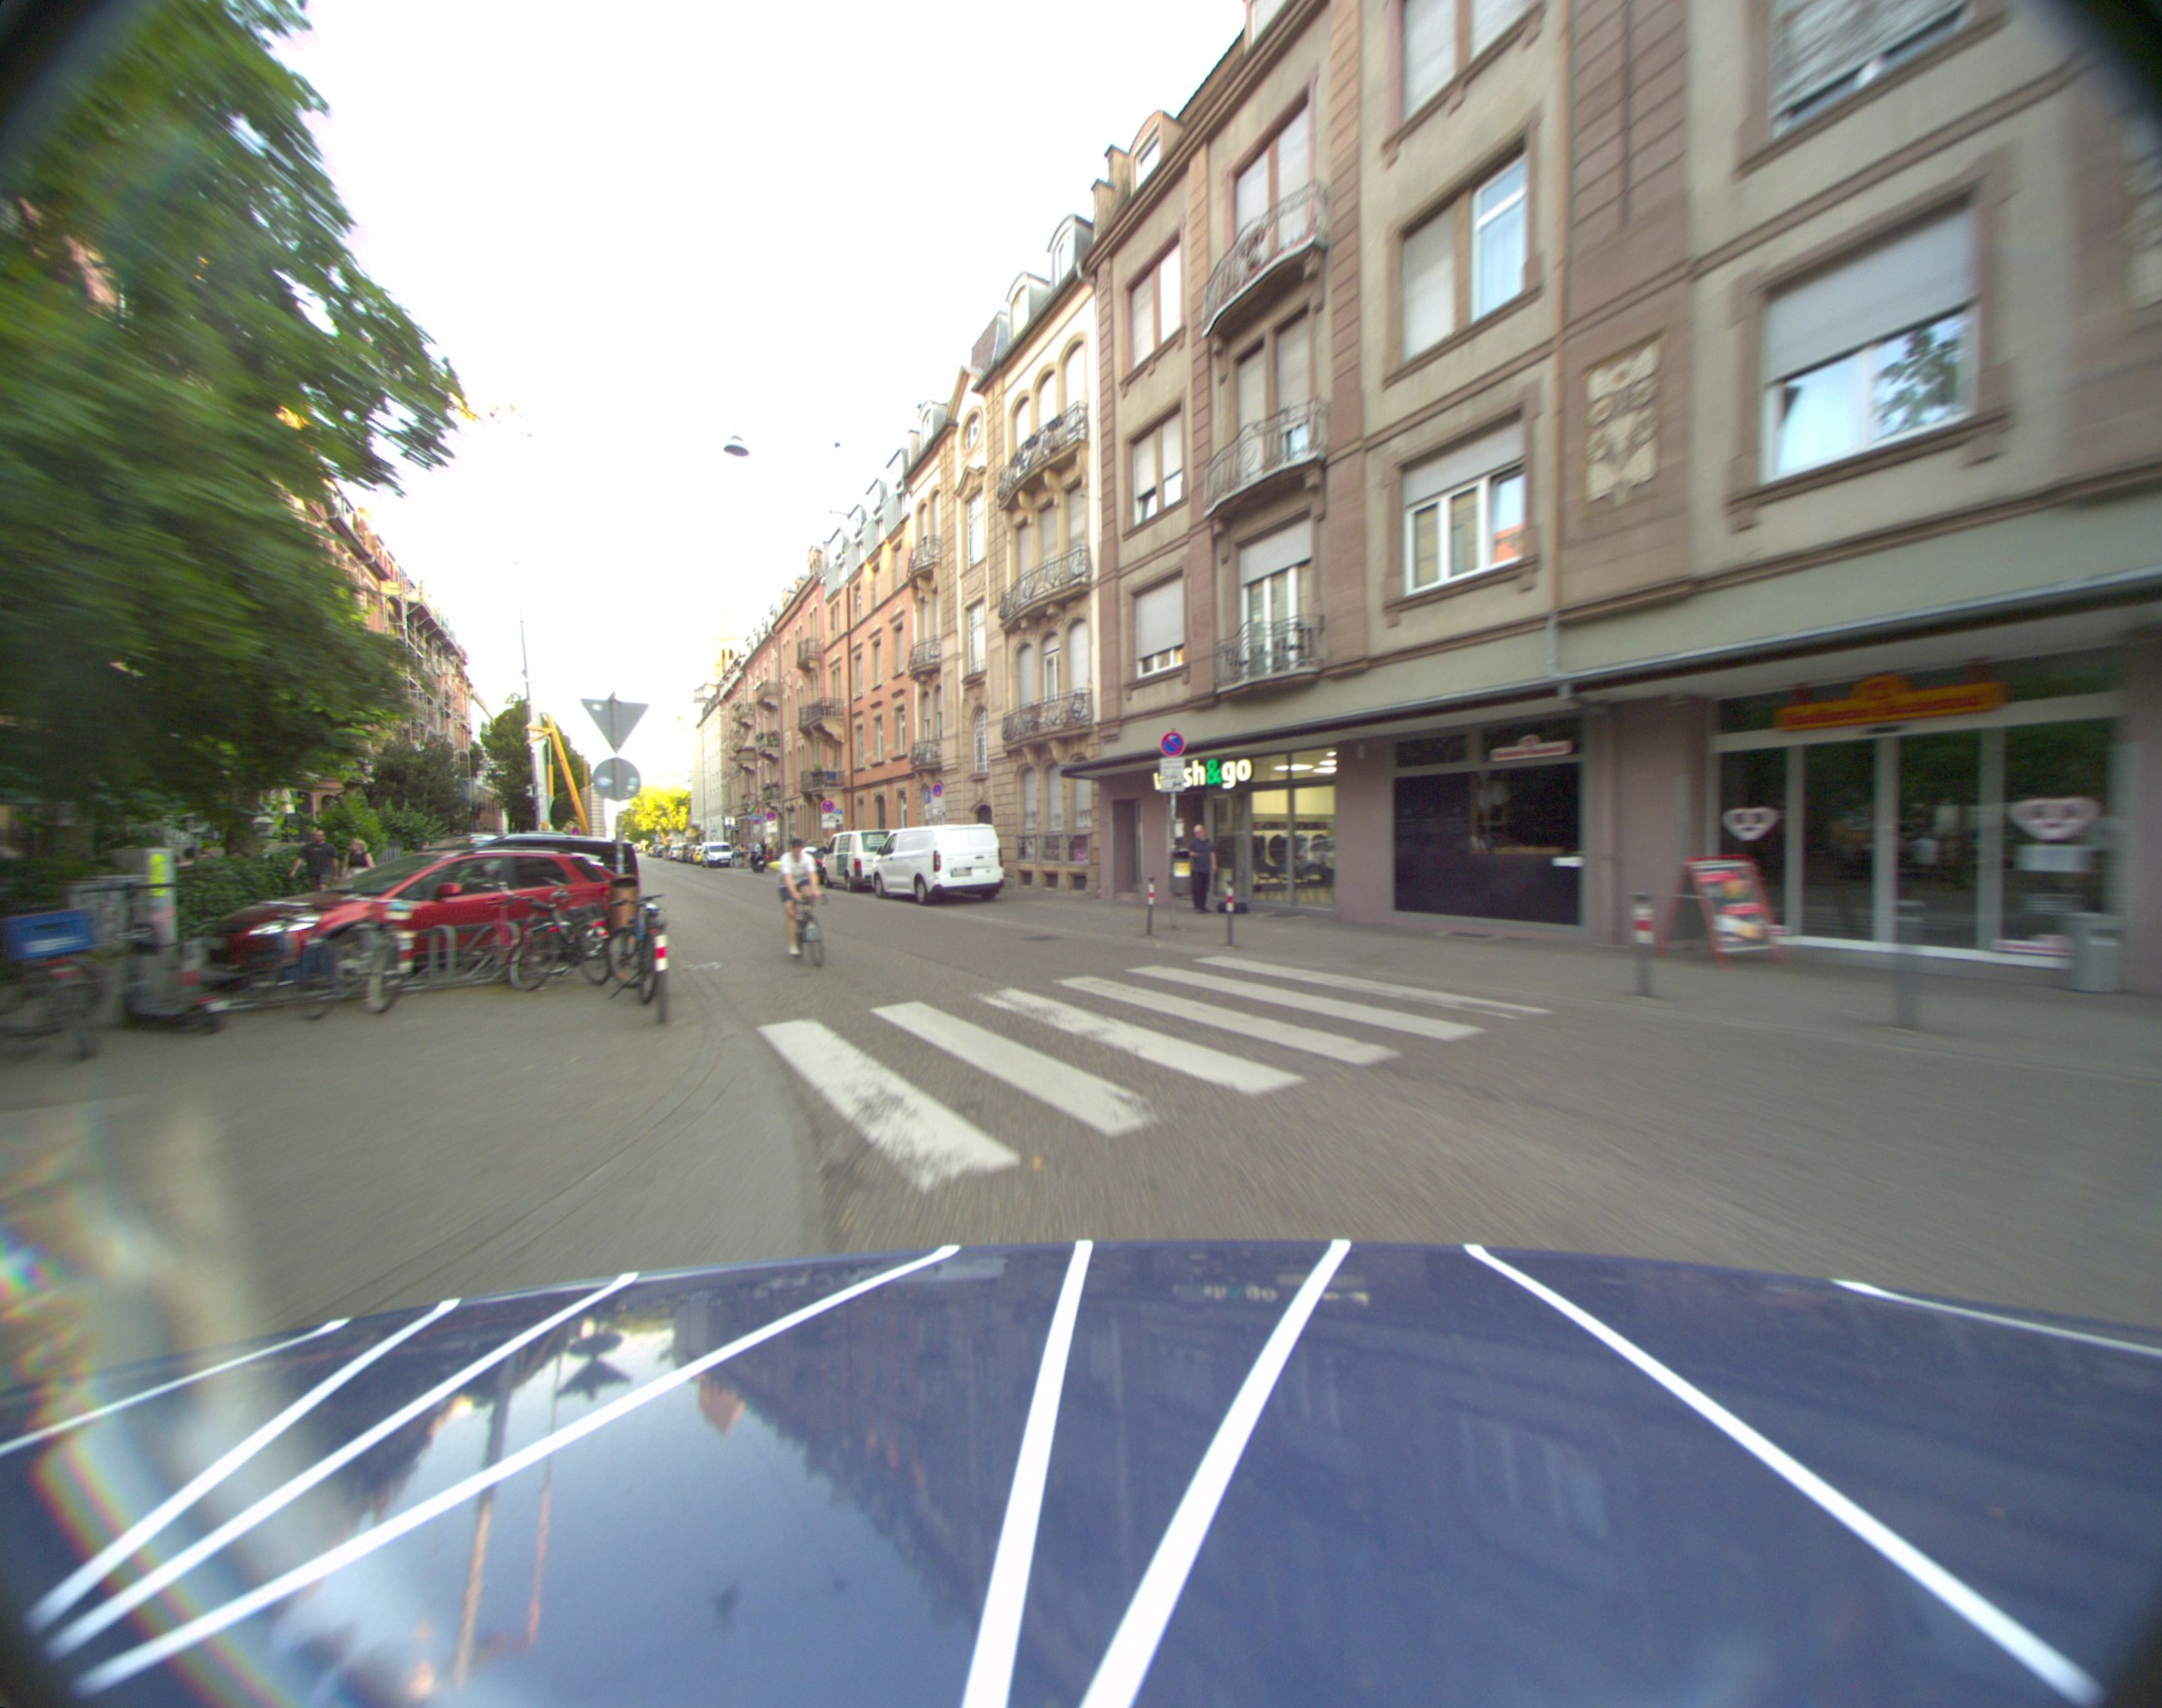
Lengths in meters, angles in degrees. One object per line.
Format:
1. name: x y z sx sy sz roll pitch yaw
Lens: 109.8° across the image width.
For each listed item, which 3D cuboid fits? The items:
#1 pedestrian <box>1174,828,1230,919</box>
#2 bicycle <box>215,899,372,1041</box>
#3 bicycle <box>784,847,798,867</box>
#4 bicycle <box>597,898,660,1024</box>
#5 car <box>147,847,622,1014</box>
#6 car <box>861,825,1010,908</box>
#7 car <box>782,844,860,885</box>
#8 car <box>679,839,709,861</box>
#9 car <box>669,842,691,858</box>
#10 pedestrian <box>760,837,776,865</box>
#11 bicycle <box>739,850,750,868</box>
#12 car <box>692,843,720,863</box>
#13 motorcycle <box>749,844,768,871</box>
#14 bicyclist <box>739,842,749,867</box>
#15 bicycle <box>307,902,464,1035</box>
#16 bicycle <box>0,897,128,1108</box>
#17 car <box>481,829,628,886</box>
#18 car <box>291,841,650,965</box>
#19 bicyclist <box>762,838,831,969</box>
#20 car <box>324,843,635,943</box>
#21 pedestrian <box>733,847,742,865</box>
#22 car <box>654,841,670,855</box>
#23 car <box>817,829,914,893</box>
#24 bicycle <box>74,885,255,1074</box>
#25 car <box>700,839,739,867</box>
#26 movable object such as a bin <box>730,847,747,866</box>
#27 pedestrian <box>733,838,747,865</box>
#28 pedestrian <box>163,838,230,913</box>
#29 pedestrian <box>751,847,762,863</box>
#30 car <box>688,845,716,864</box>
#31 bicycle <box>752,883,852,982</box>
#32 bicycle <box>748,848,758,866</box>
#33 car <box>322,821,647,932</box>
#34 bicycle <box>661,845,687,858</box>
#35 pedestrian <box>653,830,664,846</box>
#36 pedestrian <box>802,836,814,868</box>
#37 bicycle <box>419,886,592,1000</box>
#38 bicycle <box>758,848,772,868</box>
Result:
1. pedestrian: 2.321 0.360 14.573 0.712 1.669 0.734 -3 3 -29
2. bicycle: -7.136 0.986 6.862 1.764 1.057 0.600 1 0 31
3. bicycle: -17.837 0.175 46.732 0.413 1.153 1.833 -4 3 -31
4. bicycle: -4.691 1.043 7.847 0.366 1.058 1.548 -4 4 -36
5. car: -8.315 0.755 9.565 1.688 1.618 4.056 -1 0 26
6. car: -4.061 0.247 20.423 2.120 1.910 5.012 -2 2 -34
7. car: -10.427 0.373 30.295 1.846 1.463 4.161 -2 2 -34
8. car: -36.194 -0.396 71.062 1.937 1.872 4.892 -2 2 -33
9. car: -44.022 -0.502 83.402 1.734 1.639 3.906 -3 3 -32
10. pedestrian: -20.925 -0.227 50.817 0.685 1.800 0.958 -4 4 -37
11. bicycle: -21.536 0.315 48.646 0.468 1.062 1.516 -3 3 -29
12. car: -31.012 -0.104 62.832 1.713 1.521 3.783 -2 2 -31
13. motorcycle: -17.765 0.164 41.813 0.688 1.397 2.009 -3 3 -29
14. bicyclist: -21.655 0.014 48.817 0.468 1.582 0.486 -3 4 -29
15. bicycle: -6.798 1.057 7.407 1.764 1.058 0.600 0 3 31
16. bicycle: -7.553 0.968 5.297 1.719 1.281 0.599 -1 2 21
17. car: -23.327 0.107 33.902 1.994 2.349 4.948 0 1 32
18. car: -9.733 0.694 12.602 1.929 1.678 4.231 1 -1 20
19. bicyclist: -3.867 0.640 10.326 0.530 1.694 0.787 -5 4 -45
20. car: -11.205 0.652 14.545 1.928 1.613 4.232 1 -1 25
21. pedestrian: -23.640 0.140 52.280 0.480 1.244 0.651 -4 4 -32
22. car: -60.463 -0.822 109.487 1.790 1.861 4.445 -3 3 -31
23. car: -7.337 0.165 25.488 1.846 1.910 4.833 -2 2 -31
24. bicycle: -7.414 0.929 6.128 1.764 1.281 0.600 0 3 31
25. car: -25.794 -0.115 54.154 1.779 1.779 4.574 -3 3 -34
26. movable object such as a bin: -23.538 0.140 52.210 0.891 1.244 0.774 -4 3 -32
27. pedestrian: -23.148 -0.150 51.635 0.601 1.804 0.718 -4 4 -41
28. pedestrian: -16.741 0.394 14.399 0.590 1.358 0.695 -4 4 -35
29. pedestrian: -24.362 0.092 57.081 0.634 1.133 0.571 -4 4 -34
30. car: -33.251 0.005 66.616 1.936 1.587 3.959 -2 2 -31
31. bicycle: -3.810 1.012 10.301 0.522 1.149 1.777 -5 4 -45
32. bicycle: -21.523 0.193 49.872 0.468 1.149 1.995 -3 3 -25
33. car: -12.786 0.450 16.888 1.929 2.060 5.446 1 -1 20
34. bicycle: -49.451 -0.328 92.294 2.626 1.391 0.600 -3 3 -19
35. pedestrian: -73.102 -2.706 131.406 1.448 2.726 1.009 -4 4 -33
36. pedestrian: -15.672 -0.134 43.606 0.465 1.780 0.640 -3 4 -29
37. bicycle: -6.650 0.989 8.846 0.364 1.154 1.555 1 2 44
38. bicycle: -19.242 0.238 46.246 0.413 1.153 1.833 -4 3 -31
